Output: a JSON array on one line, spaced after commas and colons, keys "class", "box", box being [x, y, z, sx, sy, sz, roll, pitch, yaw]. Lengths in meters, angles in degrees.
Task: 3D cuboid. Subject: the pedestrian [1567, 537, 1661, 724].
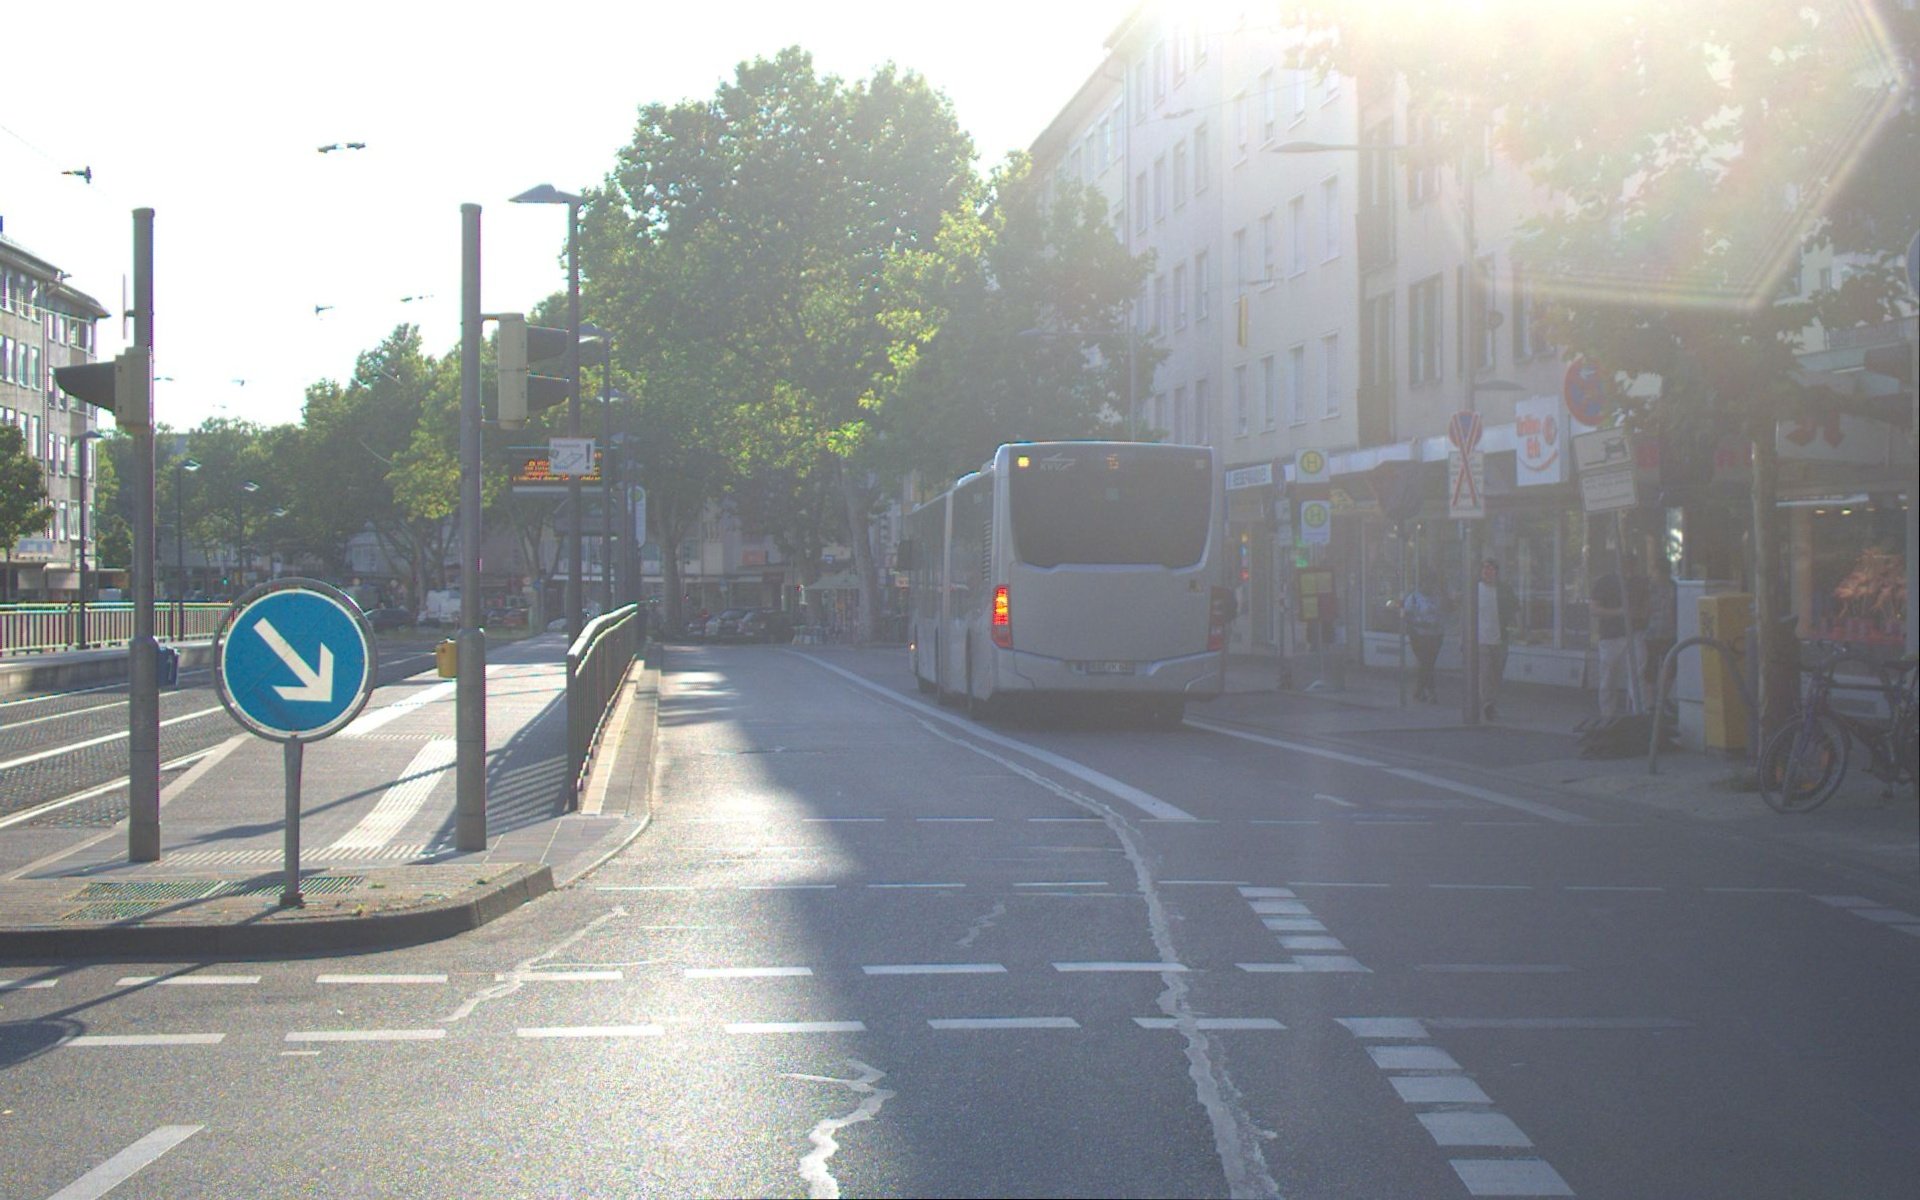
[{"class": "pedestrian", "box": [6.389, 0.296, 33.603, 0.723, 1.800, 0.766, 0, 0, -5]}]

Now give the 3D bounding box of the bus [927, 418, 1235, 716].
[{"class": "bus", "box": [1.236, -0.367, 40.933, 2.696, 3.107, 9.382, 1, 0, -4]}]

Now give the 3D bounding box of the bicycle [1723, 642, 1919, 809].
[{"class": "bicycle", "box": [5.926, 0.798, 22.312, 1.798, 1.005, 0.541, -2, 0, -7]}]

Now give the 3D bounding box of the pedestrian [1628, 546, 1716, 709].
[{"class": "pedestrian", "box": [7.568, 0.291, 36.582, 0.723, 1.717, 0.766, 0, 0, -5]}]

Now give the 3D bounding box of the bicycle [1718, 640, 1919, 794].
[{"class": "bicycle", "box": [5.850, 0.774, 22.943, 1.482, 1.005, 0.454, 0, 0, -7]}]

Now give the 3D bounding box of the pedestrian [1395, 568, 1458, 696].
[{"class": "pedestrian", "box": [5.765, 0.390, 42.539, 0.610, 1.573, 0.851, 0, 0, -4]}]

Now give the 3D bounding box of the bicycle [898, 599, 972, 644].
[{"class": "bicycle", "box": [-0.673, 0.574, 91.796, 1.887, 1.073, 0.754, -4, 0, -1]}]

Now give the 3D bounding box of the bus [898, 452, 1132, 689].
[{"class": "bus", "box": [0.647, -0.415, 50.153, 2.696, 3.107, 9.071, 1, 0, -3]}]

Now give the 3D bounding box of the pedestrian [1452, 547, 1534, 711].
[{"class": "pedestrian", "box": [5.808, 0.314, 37.496, 0.723, 1.773, 0.766, 0, 0, -5]}]

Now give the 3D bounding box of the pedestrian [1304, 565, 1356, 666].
[{"class": "pedestrian", "box": [6.029, 0.249, 56.051, 0.723, 1.627, 0.766, 0, 0, -5]}]

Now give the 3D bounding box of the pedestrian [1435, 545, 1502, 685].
[{"class": "pedestrian", "box": [6.737, 0.193, 45.589, 0.723, 1.834, 0.766, 0, 0, -5]}]
